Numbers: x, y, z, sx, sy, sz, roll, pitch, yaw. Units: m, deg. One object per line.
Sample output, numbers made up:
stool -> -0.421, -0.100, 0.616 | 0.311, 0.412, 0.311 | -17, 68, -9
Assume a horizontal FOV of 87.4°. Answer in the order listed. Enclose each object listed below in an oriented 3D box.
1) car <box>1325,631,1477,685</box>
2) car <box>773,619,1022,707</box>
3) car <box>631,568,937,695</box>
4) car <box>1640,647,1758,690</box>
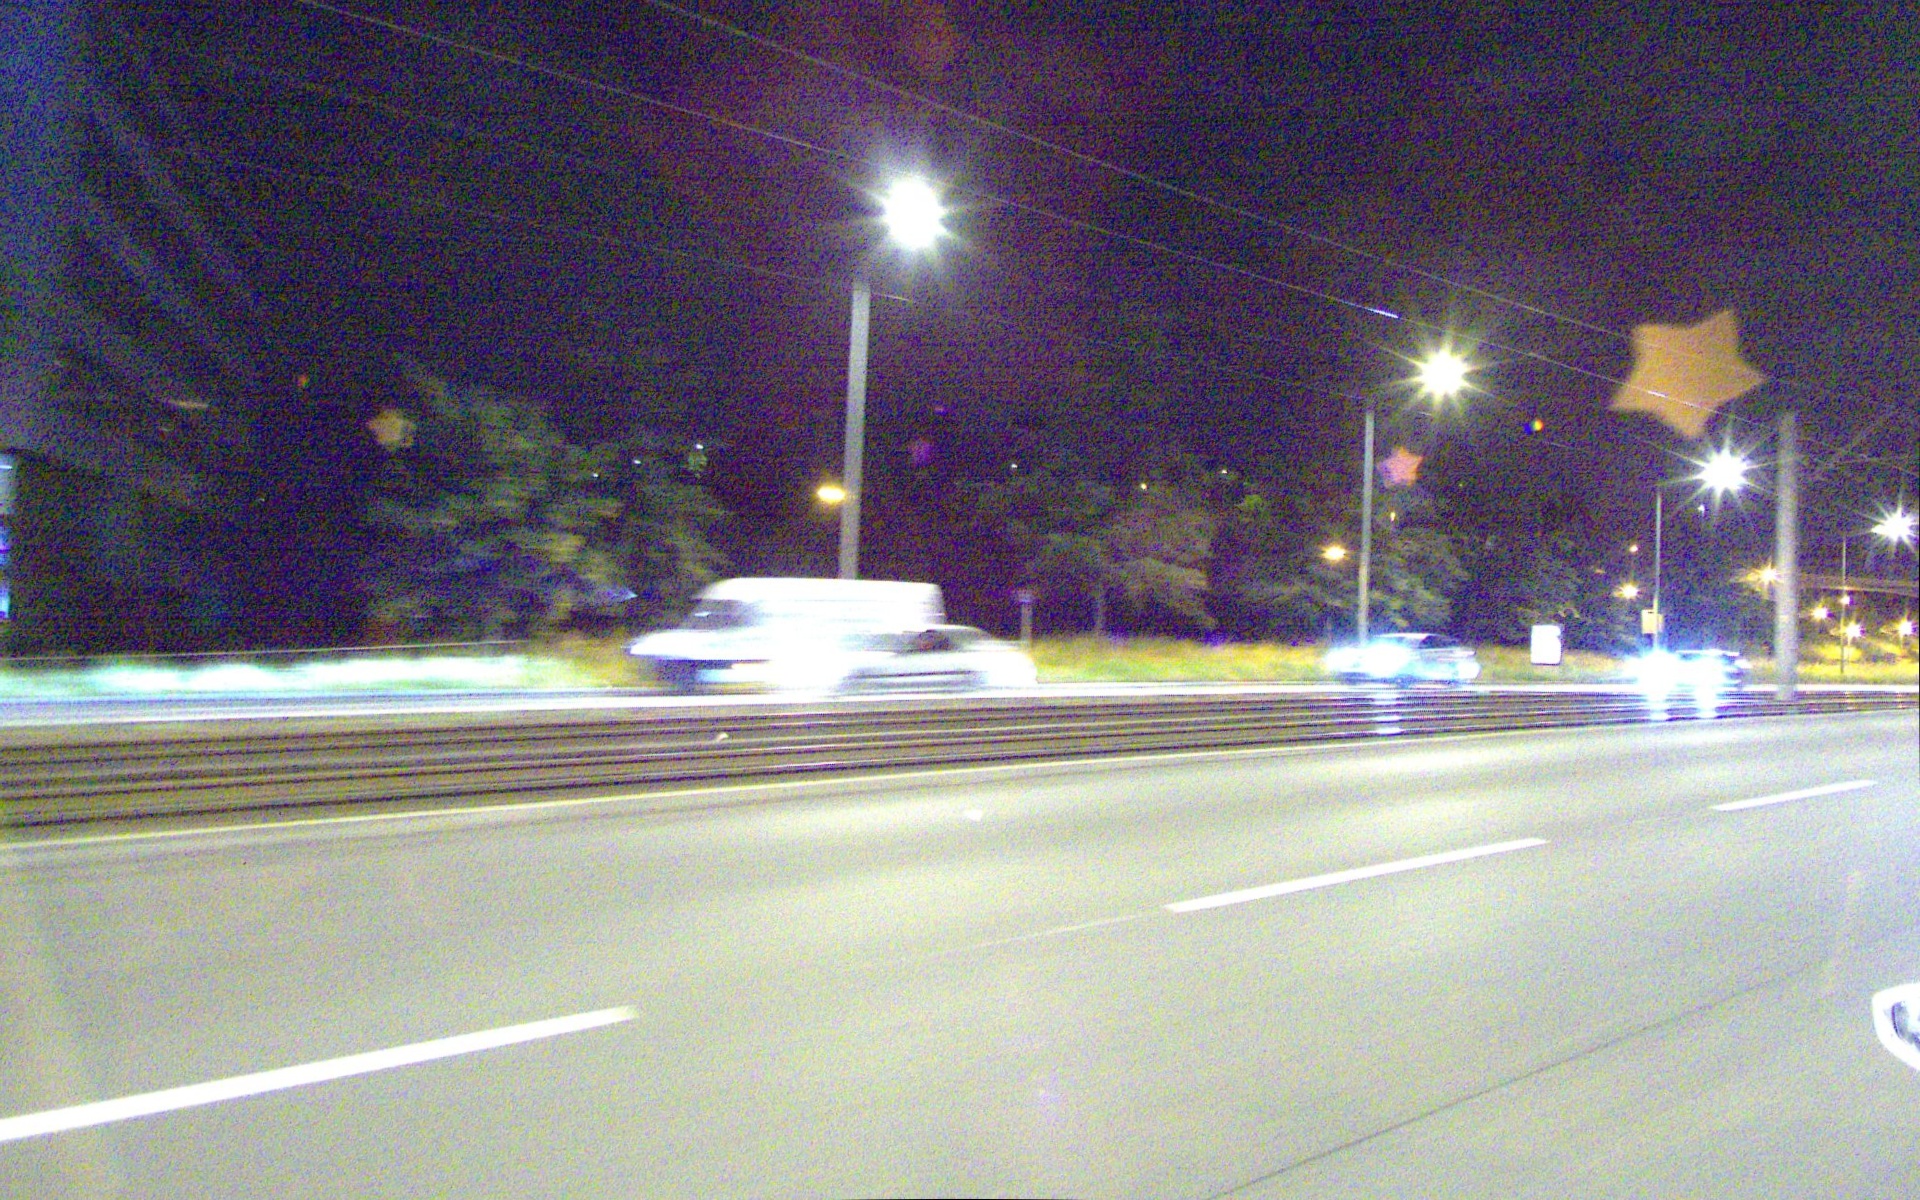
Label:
car -> 13.312, 1.750, 30.263 | 4.559, 1.534, 1.854 | 2, -3, -30
car -> -1.086, 1.138, 18.335 | 4.287, 1.458, 1.613 | 2, -3, -30
car -> -4.060, 0.848, 23.958 | 6.880, 2.705, 2.136 | 2, -4, -30
car -> 27.466, 2.511, 37.302 | 4.902, 1.448, 1.856 | 2, -1, -32
